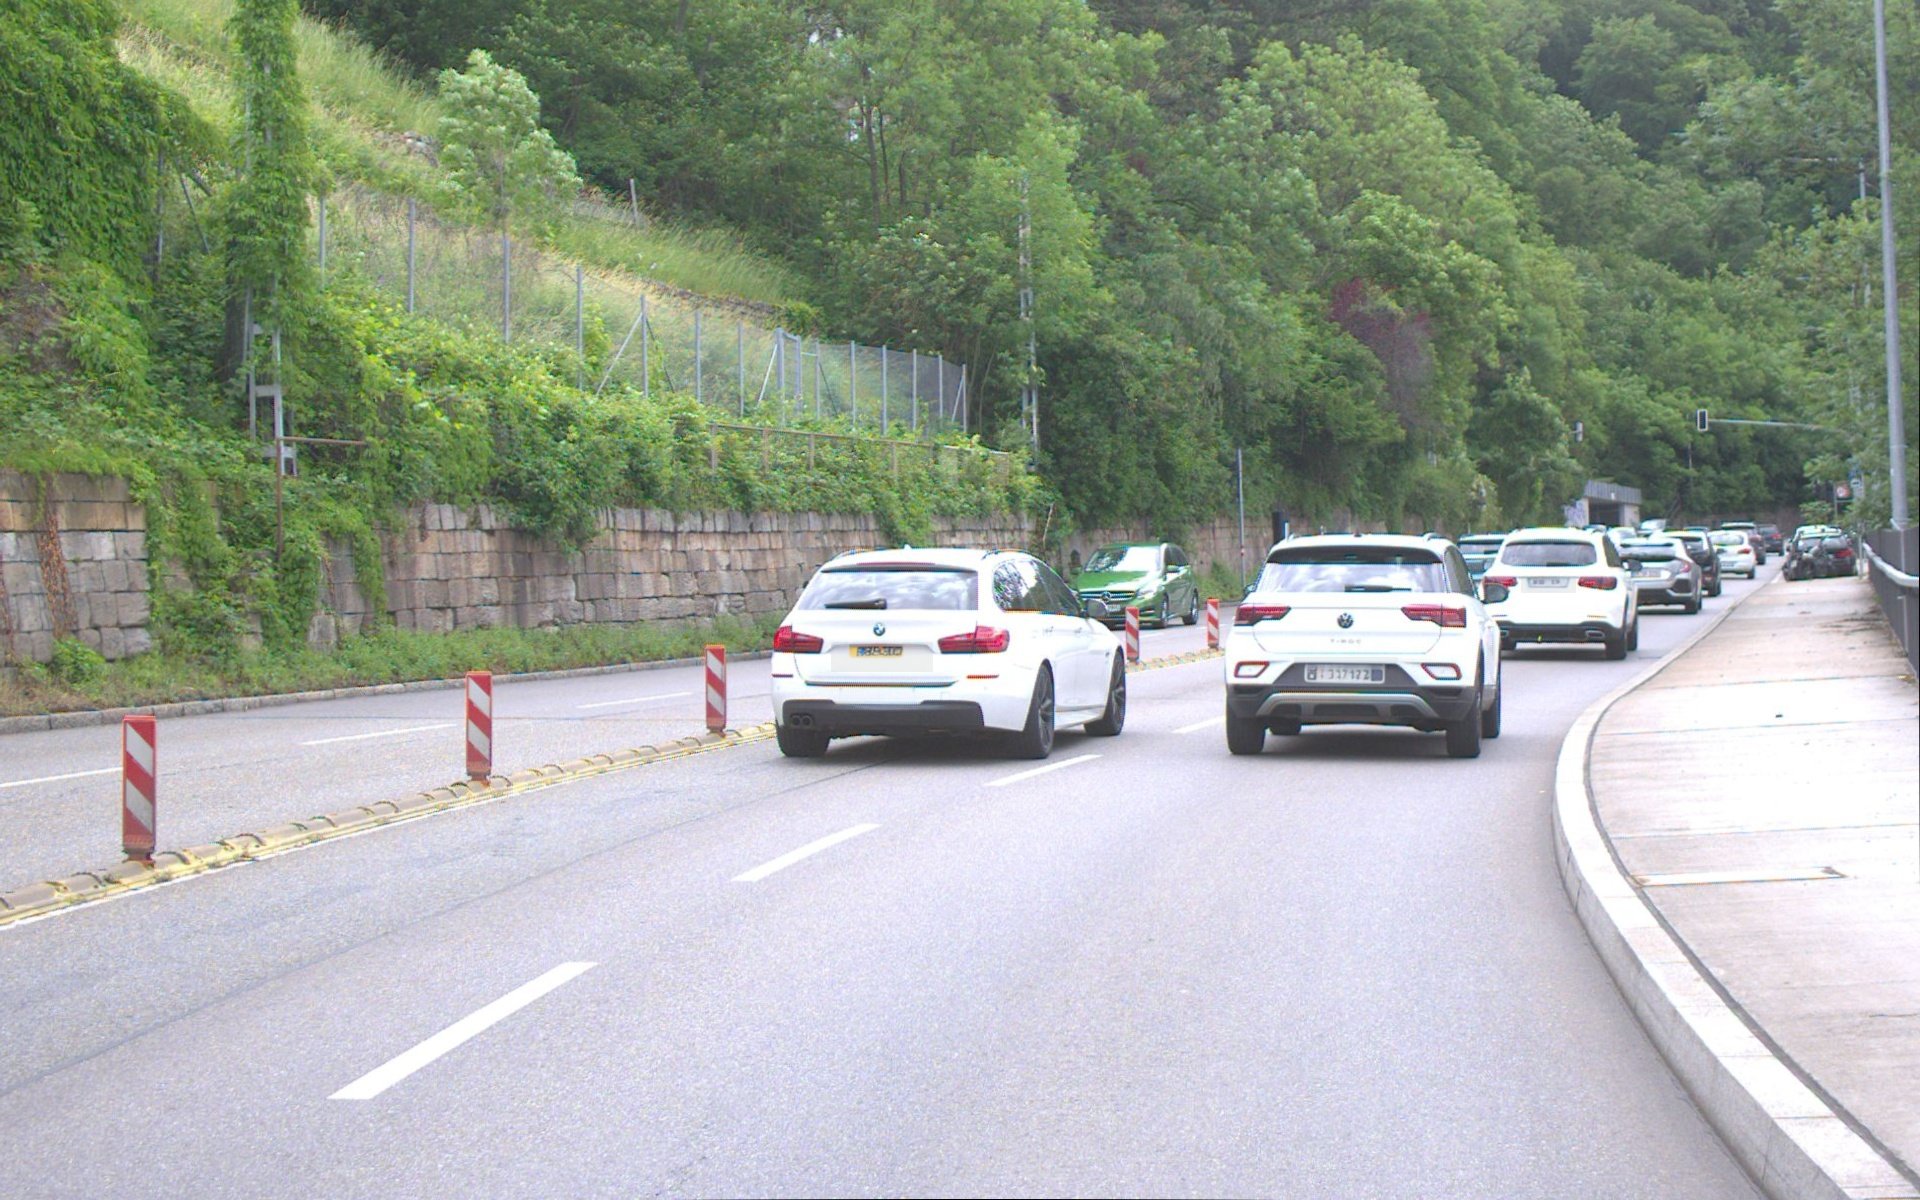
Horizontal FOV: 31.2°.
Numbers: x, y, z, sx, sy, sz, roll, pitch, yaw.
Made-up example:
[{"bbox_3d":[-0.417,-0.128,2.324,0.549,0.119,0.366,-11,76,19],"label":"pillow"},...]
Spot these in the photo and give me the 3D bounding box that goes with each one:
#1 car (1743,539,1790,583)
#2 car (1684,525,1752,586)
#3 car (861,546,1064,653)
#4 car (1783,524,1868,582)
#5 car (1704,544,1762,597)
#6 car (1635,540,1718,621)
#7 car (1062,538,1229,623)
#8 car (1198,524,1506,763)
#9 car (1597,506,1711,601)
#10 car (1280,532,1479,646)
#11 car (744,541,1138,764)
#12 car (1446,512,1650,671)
[{"bbox_3d":[37.416,-1.820,159.379,1.995,2.007,3.997,0,1,15],"label":"car"},{"bbox_3d":[23.583,-1.397,106.909,1.995,1.853,3.998,0,1,13],"label":"car"},{"bbox_3d":[0.088,-0.044,48.560,1.708,1.437,3.997,0,1,18],"label":"car"},{"bbox_3d":[23.061,-1.252,91.689,1.815,1.503,3.999,0,1,8],"label":"car"},{"bbox_3d":[29.754,-1.149,132.226,1.995,2.007,3.997,0,1,15],"label":"car"},{"bbox_3d":[16.229,-0.459,77.791,1.745,1.775,3.532,0,1,13],"label":"car"},{"bbox_3d":[3.456,-0.382,63.144,1.853,1.510,4.329,0,1,20],"label":"car"},{"bbox_3d":[2.956,0.253,25.218,1.829,1.600,3.998,0,1,13],"label":"car"},{"bbox_3d":[13.011,-0.865,64.278,1.995,1.711,3.998,0,1,13],"label":"car"},{"bbox_3d":[5.930,-0.198,48.155,1.995,1.498,4.664,1,1,17],"label":"car"},{"bbox_3d":[-0.026,0.317,24.972,1.829,1.455,4.483,-1,1,13],"label":"car"},{"bbox_3d":[7.646,-0.152,44.439,1.995,1.712,4.111,-7,0,16],"label":"car"}]
